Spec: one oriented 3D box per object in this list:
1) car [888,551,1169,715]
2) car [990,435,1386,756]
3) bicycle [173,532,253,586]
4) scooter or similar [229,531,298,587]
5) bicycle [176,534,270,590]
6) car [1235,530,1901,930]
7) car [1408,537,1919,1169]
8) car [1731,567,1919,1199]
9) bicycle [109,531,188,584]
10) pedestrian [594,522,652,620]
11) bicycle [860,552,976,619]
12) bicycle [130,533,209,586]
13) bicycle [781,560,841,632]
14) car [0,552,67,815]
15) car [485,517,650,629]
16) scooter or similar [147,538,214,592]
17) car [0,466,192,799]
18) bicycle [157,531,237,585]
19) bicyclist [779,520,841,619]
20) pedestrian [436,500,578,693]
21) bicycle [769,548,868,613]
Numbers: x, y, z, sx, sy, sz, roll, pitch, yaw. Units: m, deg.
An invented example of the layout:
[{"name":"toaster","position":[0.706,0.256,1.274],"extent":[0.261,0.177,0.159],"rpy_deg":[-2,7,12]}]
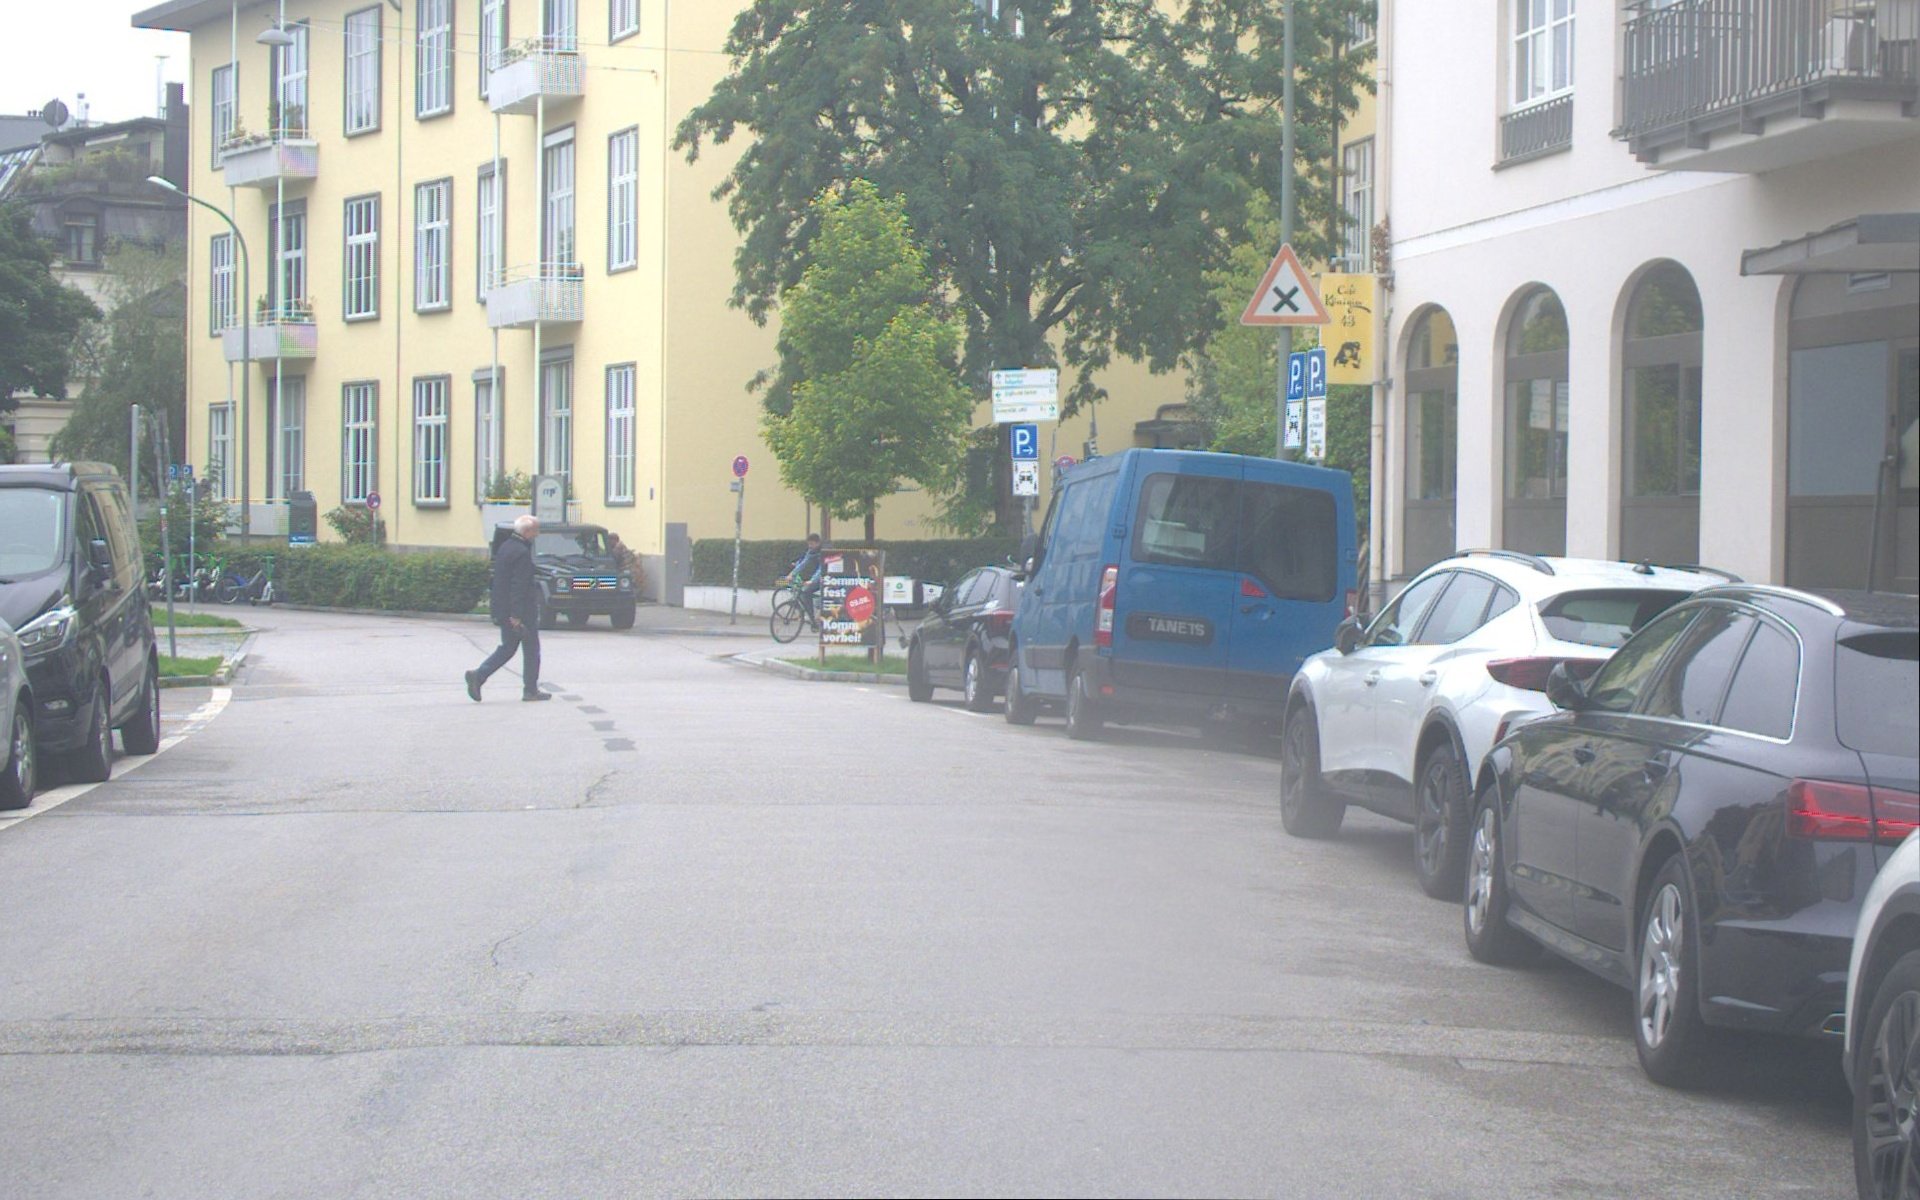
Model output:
[{"name":"car","position":[0.604,0.280,34.327],"extent":[1.676,1.384,4.307],"rpy_deg":[4,0,-13]},{"name":"car","position":[1.730,-0.043,28.187],"extent":[2.078,2.226,5.246],"rpy_deg":[5,0,-8]},{"name":"bicycle","position":[-18.202,-1.010,83.779],"extent":[0.733,1.301,2.153],"rpy_deg":[1,1,25]},{"name":"scooter or similar","position":[-16.410,-0.975,81.018],"extent":[0.732,1.301,2.155],"rpy_deg":[1,1,14]},{"name":"bicycle","position":[-17.514,-0.908,81.757],"extent":[0.734,1.301,2.151],"rpy_deg":[2,2,43]},{"name":"car","position":[2.708,0.497,16.520],"extent":[1.785,1.528,4.649],"rpy_deg":[4,1,-7]},{"name":"car","position":[2.847,0.638,11.199],"extent":[1.879,1.517,5.164],"rpy_deg":[4,1,-1]},{"name":"car","position":[2.903,0.758,6.166],"extent":[1.694,1.484,4.581],"rpy_deg":[3,1,-3]},{"name":"bicycle","position":[-20.284,-1.060,85.963],"extent":[0.733,1.301,2.153],"rpy_deg":[1,1,25]},{"name":"pedestrian","position":[-6.351,-0.552,64.816],"extent":[0.874,1.817,0.798],"rpy_deg":[1,1,-22]},{"name":"bicycle","position":[-0.783,-0.272,64.478],"extent":[2.068,1.197,0.595],"rpy_deg":[1,1,13]},{"name":"bicycle","position":[-19.628,-1.011,85.371],"extent":[0.733,1.301,2.153],"rpy_deg":[1,1,25]},{"name":"bicycle","position":[-2.442,-0.073,56.203],"extent":[0.670,1.155,2.004],"rpy_deg":[1,1,-11]},{"name":"car","position":[-5.961,0.492,17.709],"extent":[1.694,1.388,4.501],"rpy_deg":[-2,1,-3]},{"name":"car","position":[-7.417,-0.537,64.588],"extent":[1.762,1.868,4.380],"rpy_deg":[4,0,-23]},{"name":"scooter or similar","position":[-19.236,-0.876,84.862],"extent":[0.733,1.301,1.728],"rpy_deg":[1,1,22]},{"name":"car","position":[-6.488,0.169,22.943],"extent":[2.072,1.957,5.351],"rpy_deg":[-2,1,-7]},{"name":"bicycle","position":[-18.755,-1.044,84.552],"extent":[0.733,1.301,2.153],"rpy_deg":[1,1,25]},{"name":"bicyclist","position":[-2.460,-0.504,56.331],"extent":[0.863,1.602,0.947],"rpy_deg":[1,0,-11]},{"name":"pedestrian","position":[-4.298,-0.017,32.623],"extent":[0.934,1.795,0.954],"rpy_deg":[-1,-2,41]},{"name":"bicycle","position":[-2.705,-0.375,65.628],"extent":[1.926,1.197,0.594],"rpy_deg":[2,2,36]}]
